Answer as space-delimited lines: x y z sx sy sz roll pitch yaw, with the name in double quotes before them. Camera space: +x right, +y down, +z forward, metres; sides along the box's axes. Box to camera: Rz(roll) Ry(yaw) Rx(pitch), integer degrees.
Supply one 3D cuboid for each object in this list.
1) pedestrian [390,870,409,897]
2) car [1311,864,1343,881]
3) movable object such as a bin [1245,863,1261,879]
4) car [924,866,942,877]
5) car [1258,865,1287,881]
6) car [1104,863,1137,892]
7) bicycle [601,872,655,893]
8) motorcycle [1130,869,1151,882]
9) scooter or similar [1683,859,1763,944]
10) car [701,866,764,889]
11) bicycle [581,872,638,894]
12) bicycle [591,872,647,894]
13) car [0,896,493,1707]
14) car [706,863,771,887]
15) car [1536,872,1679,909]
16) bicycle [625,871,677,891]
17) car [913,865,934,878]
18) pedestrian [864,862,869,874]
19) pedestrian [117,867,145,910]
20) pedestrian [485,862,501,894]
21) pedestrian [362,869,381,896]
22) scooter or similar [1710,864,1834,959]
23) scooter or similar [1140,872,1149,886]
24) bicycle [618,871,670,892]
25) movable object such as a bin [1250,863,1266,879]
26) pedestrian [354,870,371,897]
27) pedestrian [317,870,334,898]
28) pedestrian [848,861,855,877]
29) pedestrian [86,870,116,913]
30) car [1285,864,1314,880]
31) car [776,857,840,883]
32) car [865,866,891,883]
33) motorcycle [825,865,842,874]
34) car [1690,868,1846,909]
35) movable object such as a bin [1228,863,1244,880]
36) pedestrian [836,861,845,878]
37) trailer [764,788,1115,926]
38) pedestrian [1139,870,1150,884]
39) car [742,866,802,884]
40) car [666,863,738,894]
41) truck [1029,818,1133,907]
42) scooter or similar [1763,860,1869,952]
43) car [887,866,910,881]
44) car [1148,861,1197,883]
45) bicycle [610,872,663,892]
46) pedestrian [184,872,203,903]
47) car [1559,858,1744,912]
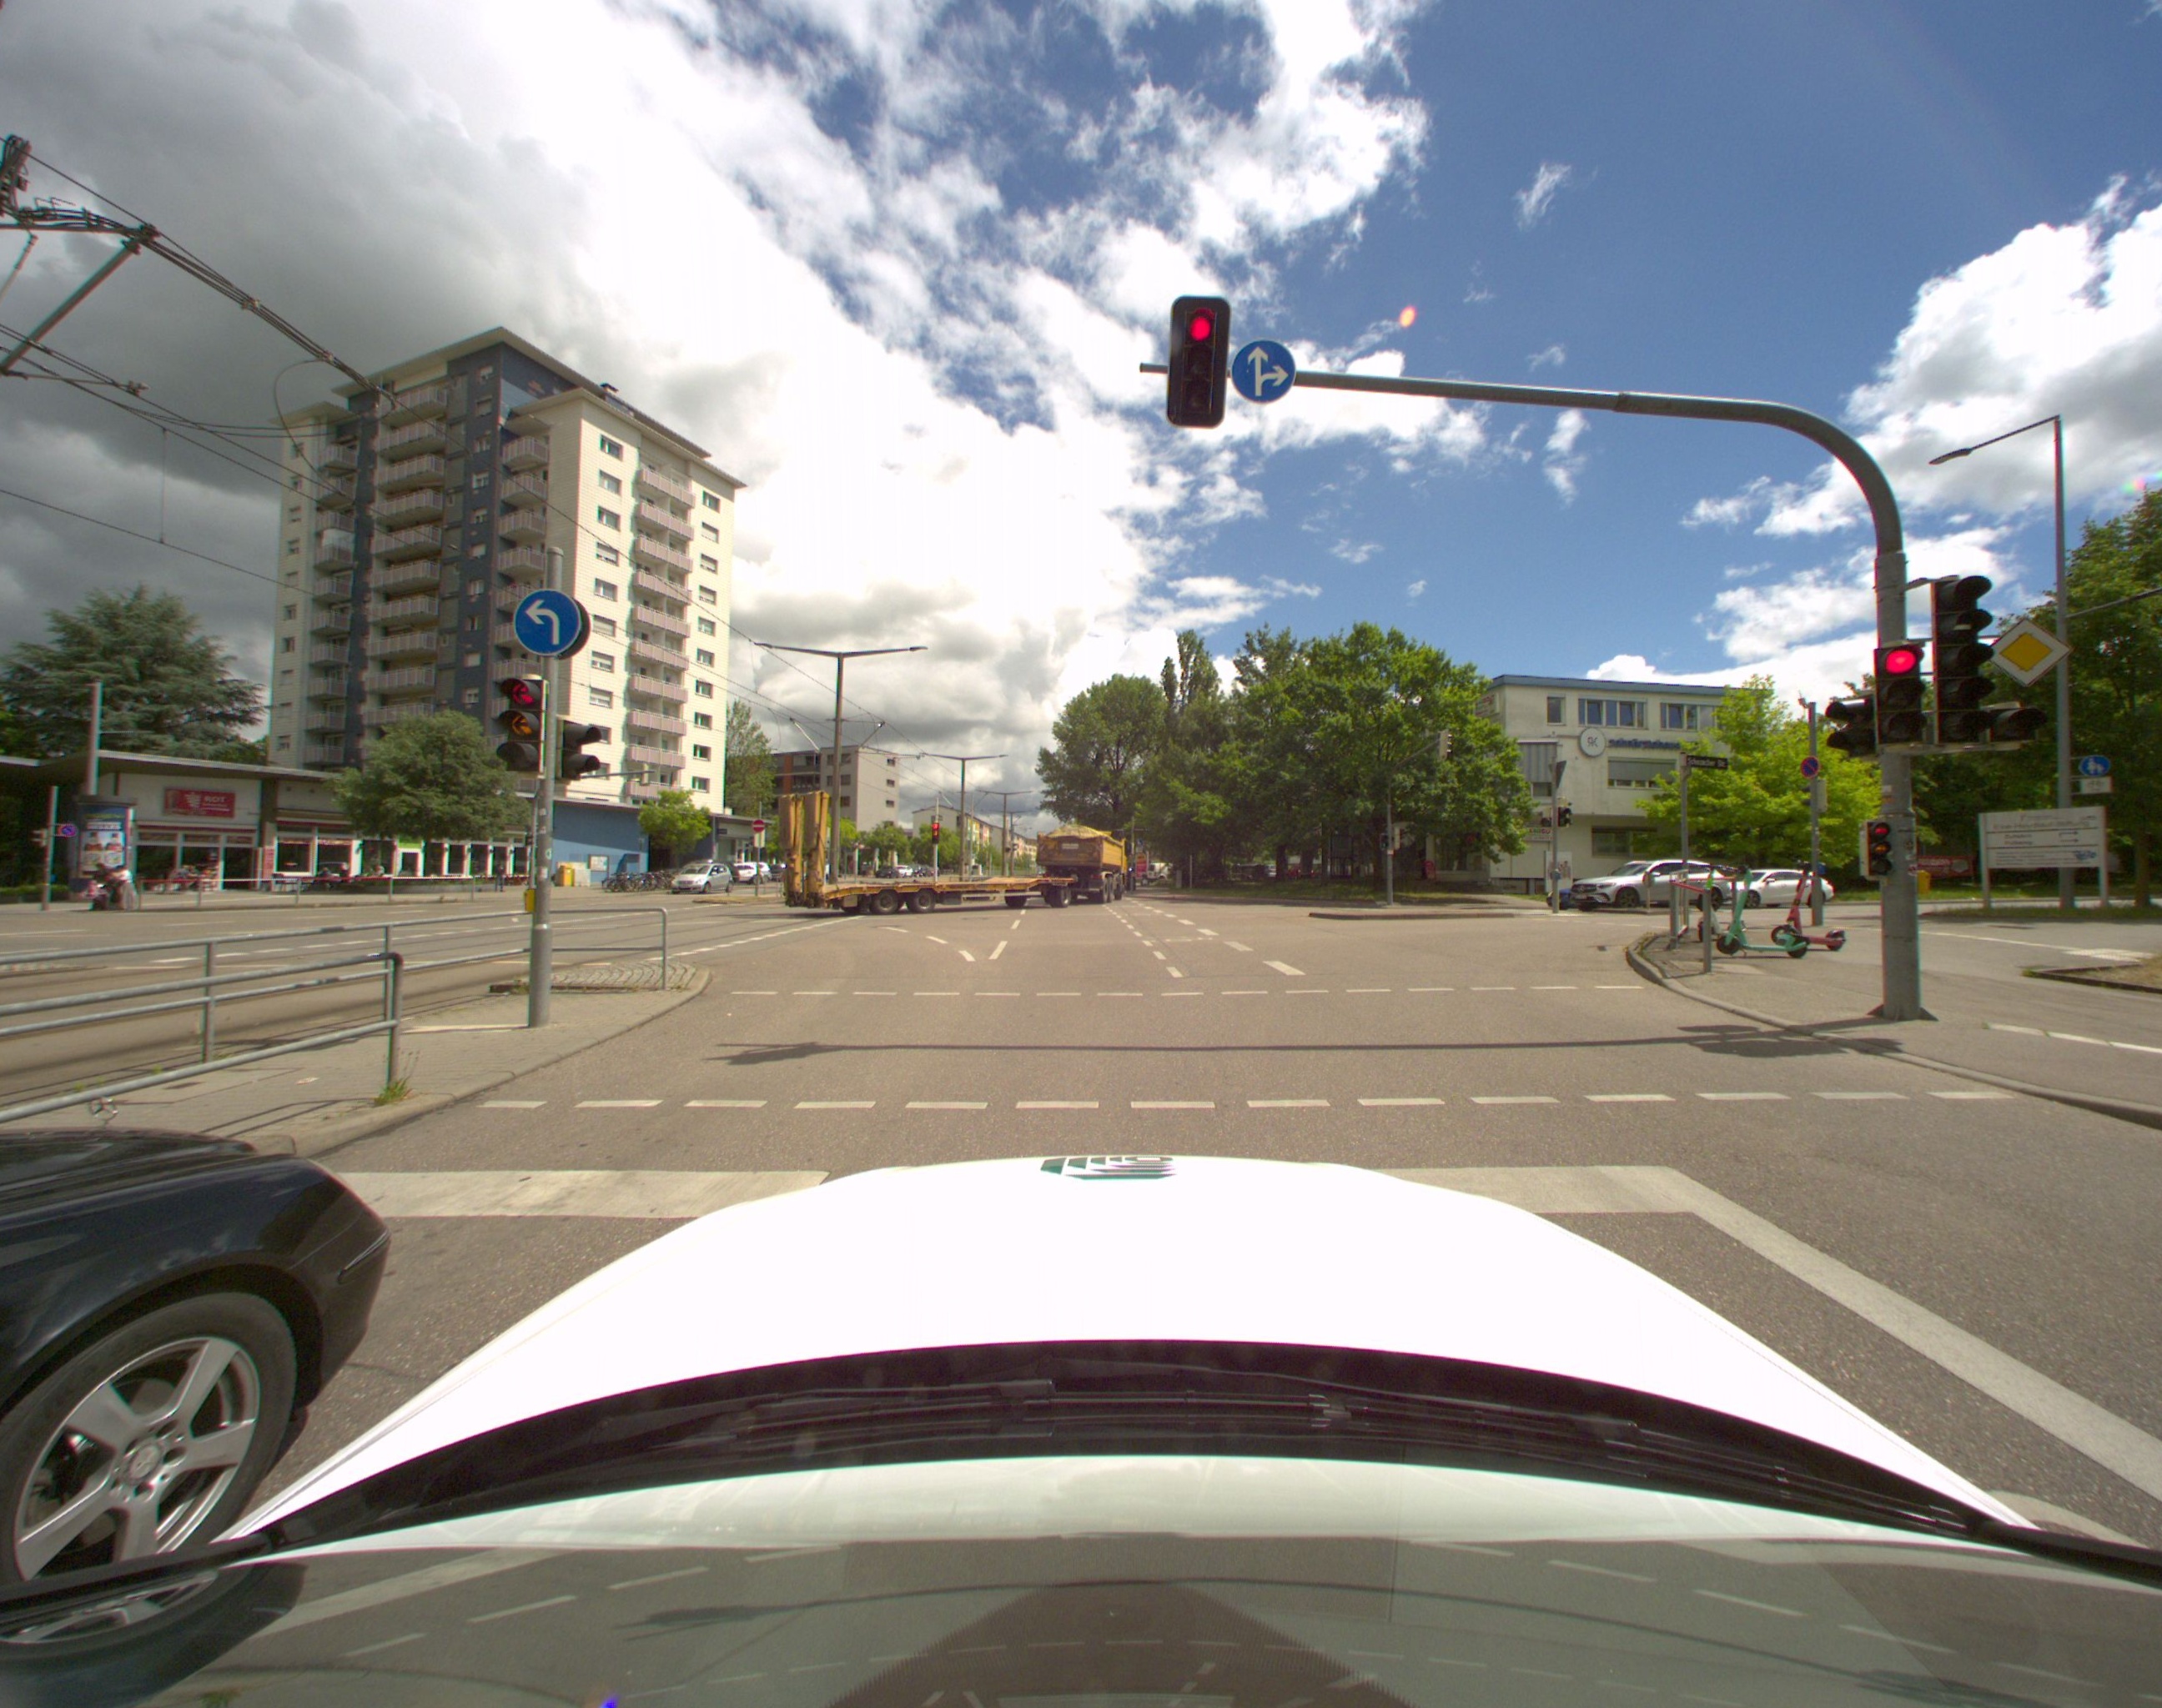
"pedestrian" -38.012 1.634 45.424 0.522 1.472 0.573 0 -1 3
"car" 22.901 1.696 75.947 1.738 1.470 3.997 0 0 -1
"movable object such as a bin" 15.896 1.556 75.350 1.113 1.430 1.284 0 -1 -4
"car" -21.339 2.515 117.435 1.605 1.426 3.428 0 -1 6
"car" 17.907 1.769 76.314 1.933 1.490 4.001 0 0 1
"car" 2.500 1.451 52.139 1.640 1.762 4.564 0 -1 -3
"bicycle" -23.484 1.471 42.218 2.419 1.066 0.705 0 -1 0
"motorcycle" 5.591 2.024 76.545 1.803 1.210 0.706 0 -1 -24
"scooter or similar" 9.718 0.694 12.326 1.213 1.235 0.475 0 -1 -27
"car" -24.486 1.619 57.244 3.786 1.496 1.727 0 -1 -40
"bicycle" -23.508 1.458 40.636 2.419 1.066 0.705 0 -1 0
"bicycle" -23.499 1.464 41.419 2.419 1.066 0.705 0 -1 0
"car" -2.863 0.816 0.140 1.963 1.398 4.678 0 0 3
"car" -25.143 1.501 59.857 1.882 1.632 4.024 -1 -1 44
"car" 18.736 1.300 29.089 3.955 1.225 1.908 0 -3 -7
"bicycle" -23.538 1.490 44.610 2.419 1.066 0.705 0 -1 0
"car" -21.403 2.344 110.833 1.986 1.648 4.102 0 -1 2
"pedestrian" -25.714 1.653 97.659 0.500 1.460 0.555 0 -1 -28
"pedestrian" -33.230 1.199 28.483 0.512 1.472 0.529 -1 -1 26
"pedestrian" -30.005 1.212 41.573 0.415 1.643 0.600 0 -1 -2
"pedestrian" -38.607 1.540 44.303 0.522 1.472 0.573 0 -1 3
"scooter or similar" 8.882 0.726 10.488 1.162 1.195 0.449 0 -1 5
"scooter or similar" 4.799 1.890 61.617 0.476 1.055 0.895 0 -1 -7
"bicycle" -23.518 1.484 43.860 2.419 1.066 0.705 0 -1 0
"movable object such as a bin" 16.013 1.545 73.633 1.113 1.430 1.284 0 -1 -4
"pedestrian" -39.778 1.643 45.089 0.565 1.472 0.529 -1 -1 29
"pedestrian" -40.388 1.615 43.518 0.565 1.472 0.529 -1 -1 32
"pedestrian" -26.196 1.662 92.852 0.609 1.792 0.843 0 -1 -1
"pedestrian" -34.040 1.295 28.288 0.565 1.472 0.529 -1 -1 26
"car" 20.514 1.704 76.737 1.737 1.443 4.001 0 0 1
"car" -22.984 1.324 68.592 4.788 2.157 1.883 0 -1 -42
"car" -21.980 2.195 88.293 1.989 1.663 4.095 1 0 -3
"motorcycle" -31.081 1.969 102.238 1.888 1.178 0.740 0 -1 -4
"car" 25.257 1.269 30.014 4.387 1.415 1.945 0 -3 -9
"movable object such as a bin" 13.883 1.551 72.840 1.113 1.430 1.284 0 -1 -4
"pedestrian" -24.275 1.547 82.108 0.844 1.650 0.609 1 -1 -21
"trailer" -4.146 0.099 27.182 11.674 3.773 3.024 0 -1 -41
"pedestrian" 4.789 1.762 61.608 0.775 1.055 0.546 0 -1 -7
"car" -24.312 1.634 64.142 4.022 1.383 1.883 0 -1 -42
"car" -19.690 1.235 42.499 1.810 1.533 3.758 0 -1 4
"truck" 0.223 0.371 34.653 2.815 3.330 8.009 -1 -1 12
"scooter or similar" 10.208 0.703 11.324 1.182 1.235 0.478 0 -1 -12
"car" -21.502 2.261 96.141 1.989 1.663 4.095 1 0 -3
"car" 8.151 1.580 72.736 4.005 1.823 1.796 0 -1 -24
"bicycle" -23.510 1.478 43.099 2.419 1.066 0.705 0 -1 0
"pedestrian" -43.055 1.623 39.514 0.565 1.472 0.529 -1 -1 32
"car" 17.916 0.970 25.692 4.636 1.592 1.918 0 -3 -7
